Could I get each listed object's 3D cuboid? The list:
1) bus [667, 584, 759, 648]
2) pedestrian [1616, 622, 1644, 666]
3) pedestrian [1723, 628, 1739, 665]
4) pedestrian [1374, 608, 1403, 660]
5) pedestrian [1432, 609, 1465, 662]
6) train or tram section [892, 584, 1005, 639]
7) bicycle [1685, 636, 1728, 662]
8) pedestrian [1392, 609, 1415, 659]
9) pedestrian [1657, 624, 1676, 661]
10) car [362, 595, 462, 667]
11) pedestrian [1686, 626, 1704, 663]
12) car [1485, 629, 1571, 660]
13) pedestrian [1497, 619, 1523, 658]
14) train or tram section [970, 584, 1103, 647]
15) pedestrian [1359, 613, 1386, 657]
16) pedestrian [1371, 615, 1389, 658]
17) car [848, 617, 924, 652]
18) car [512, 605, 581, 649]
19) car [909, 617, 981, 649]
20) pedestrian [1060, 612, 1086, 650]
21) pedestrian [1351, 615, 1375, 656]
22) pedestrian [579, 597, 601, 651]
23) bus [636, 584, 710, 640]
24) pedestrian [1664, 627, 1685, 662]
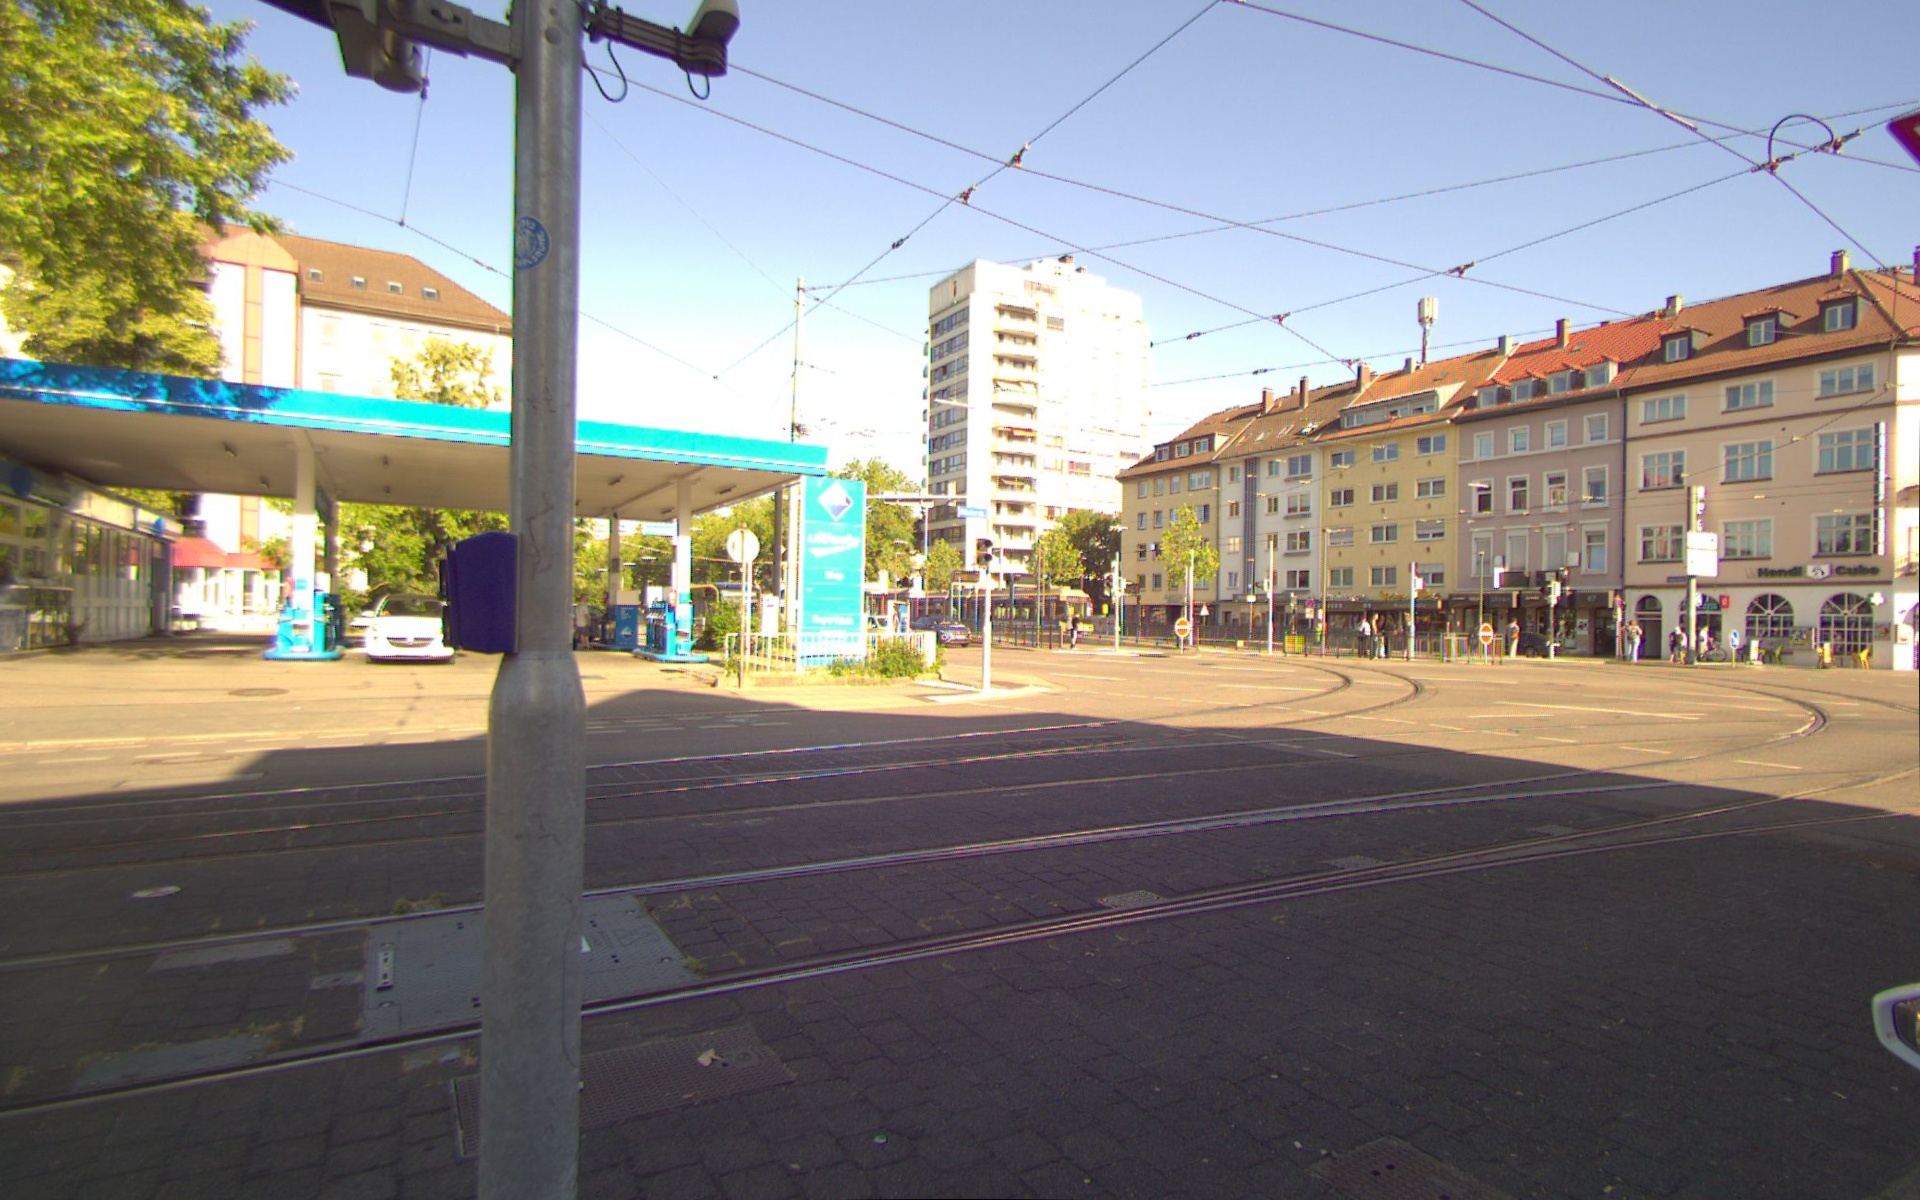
[{"bbox_3d":[-14.795,0.808,59.496,2.748,3.504,9.364,0,1,-31],"label":"bus"},{"bbox_3d":[26.541,1.737,39.800,0.621,1.704,0.737,1,-1,-30],"label":"pedestrian"},{"bbox_3d":[26.985,1.636,35.178,0.447,1.270,0.361,1,-1,-41],"label":"pedestrian"},{"bbox_3d":[15.665,1.227,36.746,0.769,1.874,0.625,1,-1,-30],"label":"pedestrian"},{"bbox_3d":[17.501,1.258,35.987,0.714,1.853,0.763,1,-1,-30],"label":"pedestrian"},{"bbox_3d":[-1.192,0.801,79.588,2.926,3.986,12.850,2,0,-30],"label":"train or tram section"},{"bbox_3d":[37.804,2.477,50.864,1.693,1.293,0.385,0,-1,44],"label":"bicycle"},{"bbox_3d":[16.460,1.254,37.301,0.553,1.810,0.557,1,-1,-30],"label":"pedestrian"},{"bbox_3d":[33.900,2.031,48.174,0.731,1.704,0.626,0,-1,35],"label":"pedestrian"},{"bbox_3d":[-12.359,0.669,22.553,1.793,1.461,3.966,1,-1,-31],"label":"car"},{"bbox_3d":[34.435,2.085,47.062,0.619,1.704,0.739,0,-1,40],"label":"pedestrian"},{"bbox_3d":[30.914,2.412,54.794,1.795,1.511,3.715,2,0,-27],"label":"car"},{"bbox_3d":[24.179,1.686,44.147,0.621,1.704,0.763,1,-1,-30],"label":"pedestrian"},{"bbox_3d":[4.988,0.937,69.024,2.926,3.986,11.589,2,0,-30],"label":"train or tram section"},{"bbox_3d":[15.642,1.327,38.068,0.565,1.657,0.737,1,-1,-30],"label":"pedestrian"},{"bbox_3d":[15.612,1.348,37.366,0.447,1.571,0.425,1,-1,-30],"label":"pedestrian"},{"bbox_3d":[-3.484,1.563,46.789,1.724,1.518,3.929,1,-1,-35],"label":"car"},{"bbox_3d":[-13.580,0.856,32.874,1.697,1.360,3.970,1,-1,-28],"label":"car"},{"bbox_3d":[-0.776,1.536,47.865,1.697,1.439,4.149,1,-1,-28],"label":"car"},{"bbox_3d":[4.910,1.339,43.634,0.788,1.632,0.766,1,-1,-37],"label":"pedestrian"},{"bbox_3d":[15.770,1.376,39.293,0.553,1.602,0.695,1,-1,-30],"label":"pedestrian"},{"bbox_3d":[-11.808,0.758,32.069,0.579,1.715,0.756,1,-1,-25],"label":"pedestrian"},{"bbox_3d":[-19.317,0.692,67.244,2.755,3.504,8.571,0,1,-30],"label":"bus"},{"bbox_3d":[35.495,2.211,49.886,0.623,1.704,0.734,1,-1,-41],"label":"pedestrian"}]
